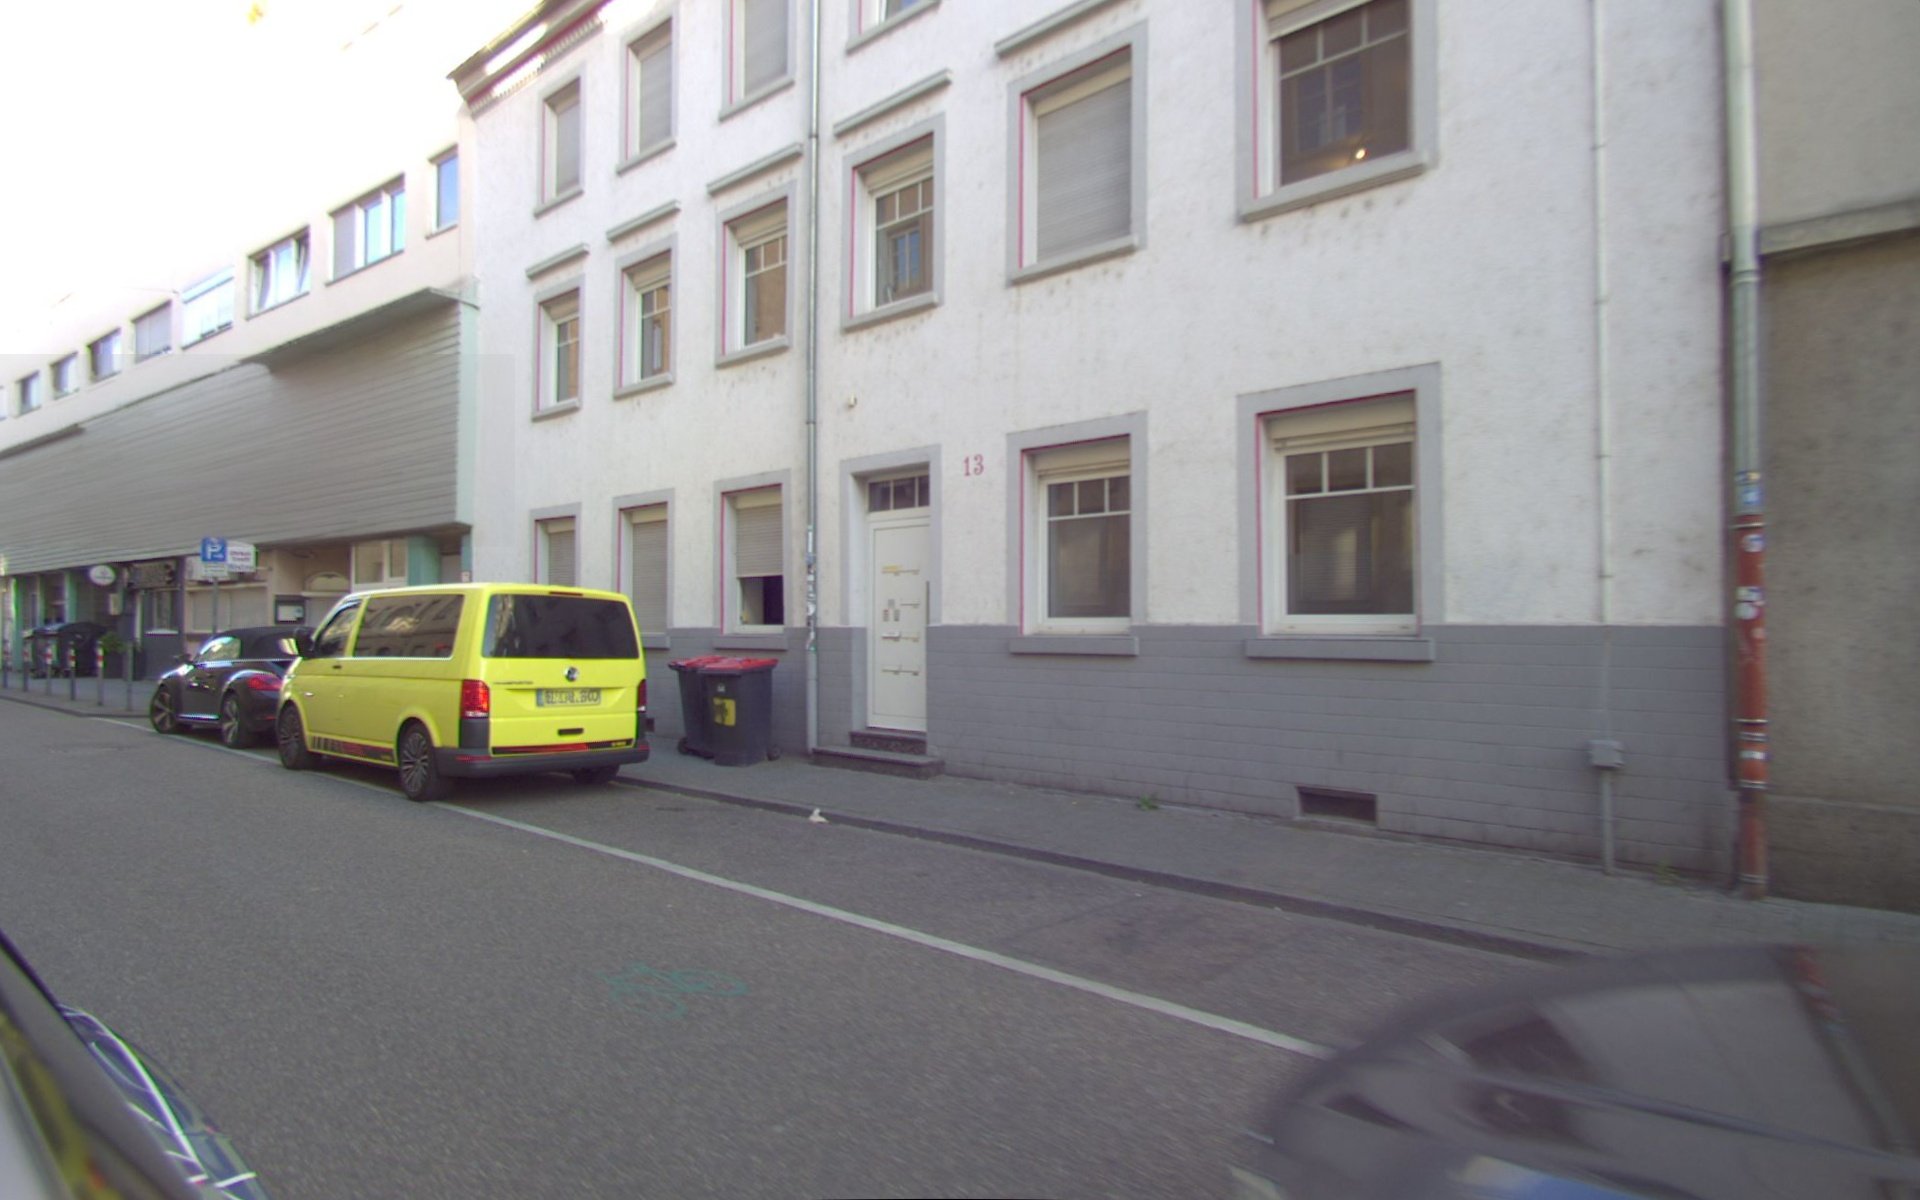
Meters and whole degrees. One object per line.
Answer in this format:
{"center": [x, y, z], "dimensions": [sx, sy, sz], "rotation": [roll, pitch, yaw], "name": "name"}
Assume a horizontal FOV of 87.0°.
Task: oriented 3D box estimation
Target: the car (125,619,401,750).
{"center": [-9.430, 1.062, 13.605], "dimensions": [4.069, 1.497, 1.802], "rotation": [-1, -4, 37], "name": "car"}

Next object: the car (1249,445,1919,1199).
{"center": [2.415, 0.701, 0.287], "dimensions": [4.179, 1.590, 1.700], "rotation": [-1, -2, 34], "name": "car"}

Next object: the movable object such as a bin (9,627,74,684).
{"center": [-24.534, 1.481, 27.031], "dimensions": [1.471, 1.483, 0.960], "rotation": [-3, -3, 35], "name": "movable object such as a bin"}

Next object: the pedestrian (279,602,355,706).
{"center": [-11.181, 0.928, 17.640], "dimensions": [1.063, 1.742, 0.804], "rotation": [1, -2, -30], "name": "pedestrian"}

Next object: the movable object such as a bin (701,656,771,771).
{"center": [-2.270, 1.130, 10.264], "dimensions": [0.433, 1.113, 0.534], "rotation": [-2, -3, 41], "name": "movable object such as a bin"}

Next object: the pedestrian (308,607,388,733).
{"center": [-8.802, 0.993, 14.558], "dimensions": [0.828, 1.748, 0.691], "rotation": [-1, -3, 37], "name": "pedestrian"}

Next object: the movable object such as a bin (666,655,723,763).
{"center": [-2.823, 1.143, 10.773], "dimensions": [0.433, 1.113, 0.406], "rotation": [-2, -3, 41], "name": "movable object such as a bin"}

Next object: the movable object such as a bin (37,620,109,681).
{"center": [-23.076, 1.311, 26.329], "dimensions": [1.339, 1.532, 1.112], "rotation": [-3, -3, 35], "name": "movable object such as a bin"}

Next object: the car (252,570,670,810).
{"center": [-5.194, 0.804, 10.217], "dimensions": [4.858, 1.881, 1.861], "rotation": [-1, -4, 39], "name": "car"}

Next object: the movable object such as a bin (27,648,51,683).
{"center": [-25.296, 1.798, 27.807], "dimensions": [0.466, 0.949, 0.389], "rotation": [-2, -2, 35], "name": "movable object such as a bin"}
